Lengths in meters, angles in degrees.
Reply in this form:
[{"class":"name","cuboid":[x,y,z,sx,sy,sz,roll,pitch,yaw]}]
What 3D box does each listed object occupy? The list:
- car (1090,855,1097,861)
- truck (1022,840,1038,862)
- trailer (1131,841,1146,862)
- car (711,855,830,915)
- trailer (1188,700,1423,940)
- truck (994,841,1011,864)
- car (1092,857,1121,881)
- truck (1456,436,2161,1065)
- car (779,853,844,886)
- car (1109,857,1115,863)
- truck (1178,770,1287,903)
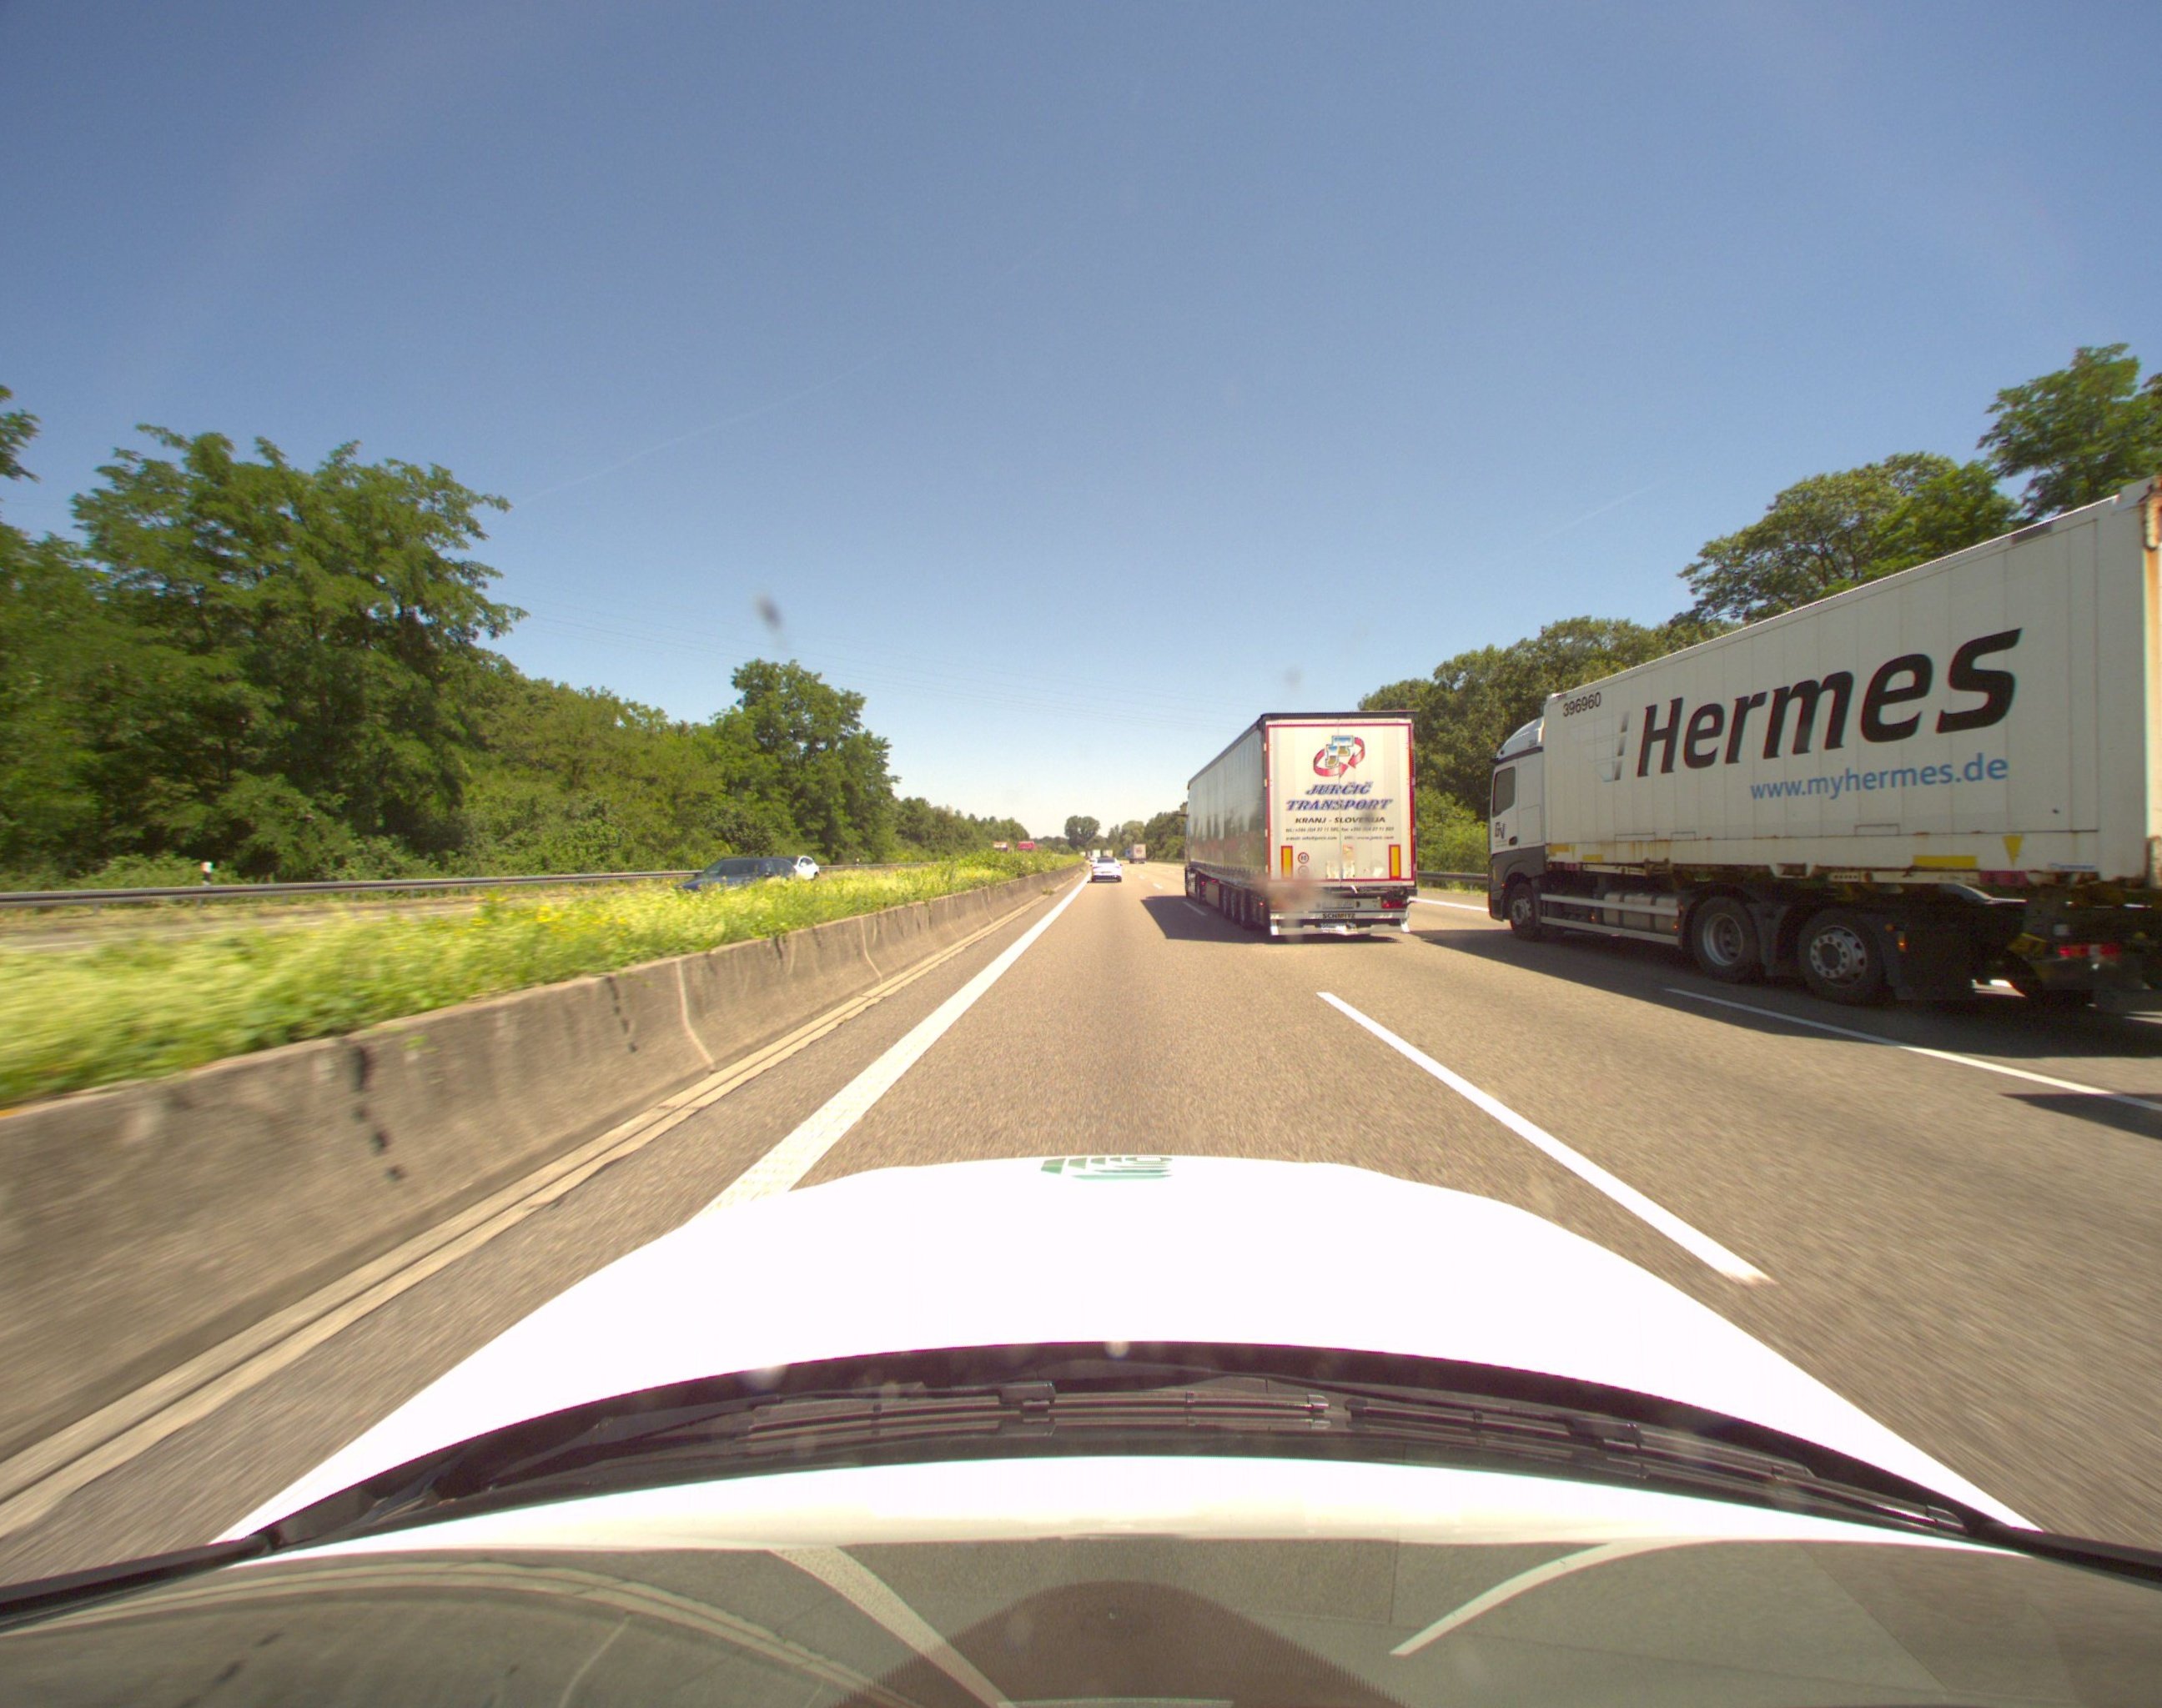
[{"class":"car","cuboid":[3.523,1.089,237.591,1.720,1.783,3.995,0,0,-3]},{"class":"truck","cuboid":[-8.836,-0.463,141.586,2.457,3.788,5.729,0,0,0]},{"class":"trailer","cuboid":[12.017,-0.513,170.845,2.614,4.261,14.064,0,0,1]},{"class":"car","cuboid":[-8.443,0.789,22.462,1.640,1.509,3.471,0,0,6]},{"class":"trailer","cuboid":[4.629,-0.542,20.381,2.729,3.975,13.663,0,0,3]},{"class":"truck","cuboid":[-12.991,-0.242,134.763,2.349,3.601,4.164,0,0,1]},{"class":"car","cuboid":[1.563,0.868,49.050,1.708,1.369,3.377,0,0,2]},{"class":"truck","cuboid":[8.439,-0.674,10.649,2.517,4.130,10.674,0,0,2]},{"class":"car","cuboid":[-14.485,0.777,44.086,1.807,1.686,4.764,0,0,2]},{"class":"car","cuboid":[8.392,1.706,220.849,1.717,1.585,4.001,0,0,1]},{"class":"truck","cuboid":[4.934,-0.522,27.657,2.712,3.975,6.505,0,0,2]}]
